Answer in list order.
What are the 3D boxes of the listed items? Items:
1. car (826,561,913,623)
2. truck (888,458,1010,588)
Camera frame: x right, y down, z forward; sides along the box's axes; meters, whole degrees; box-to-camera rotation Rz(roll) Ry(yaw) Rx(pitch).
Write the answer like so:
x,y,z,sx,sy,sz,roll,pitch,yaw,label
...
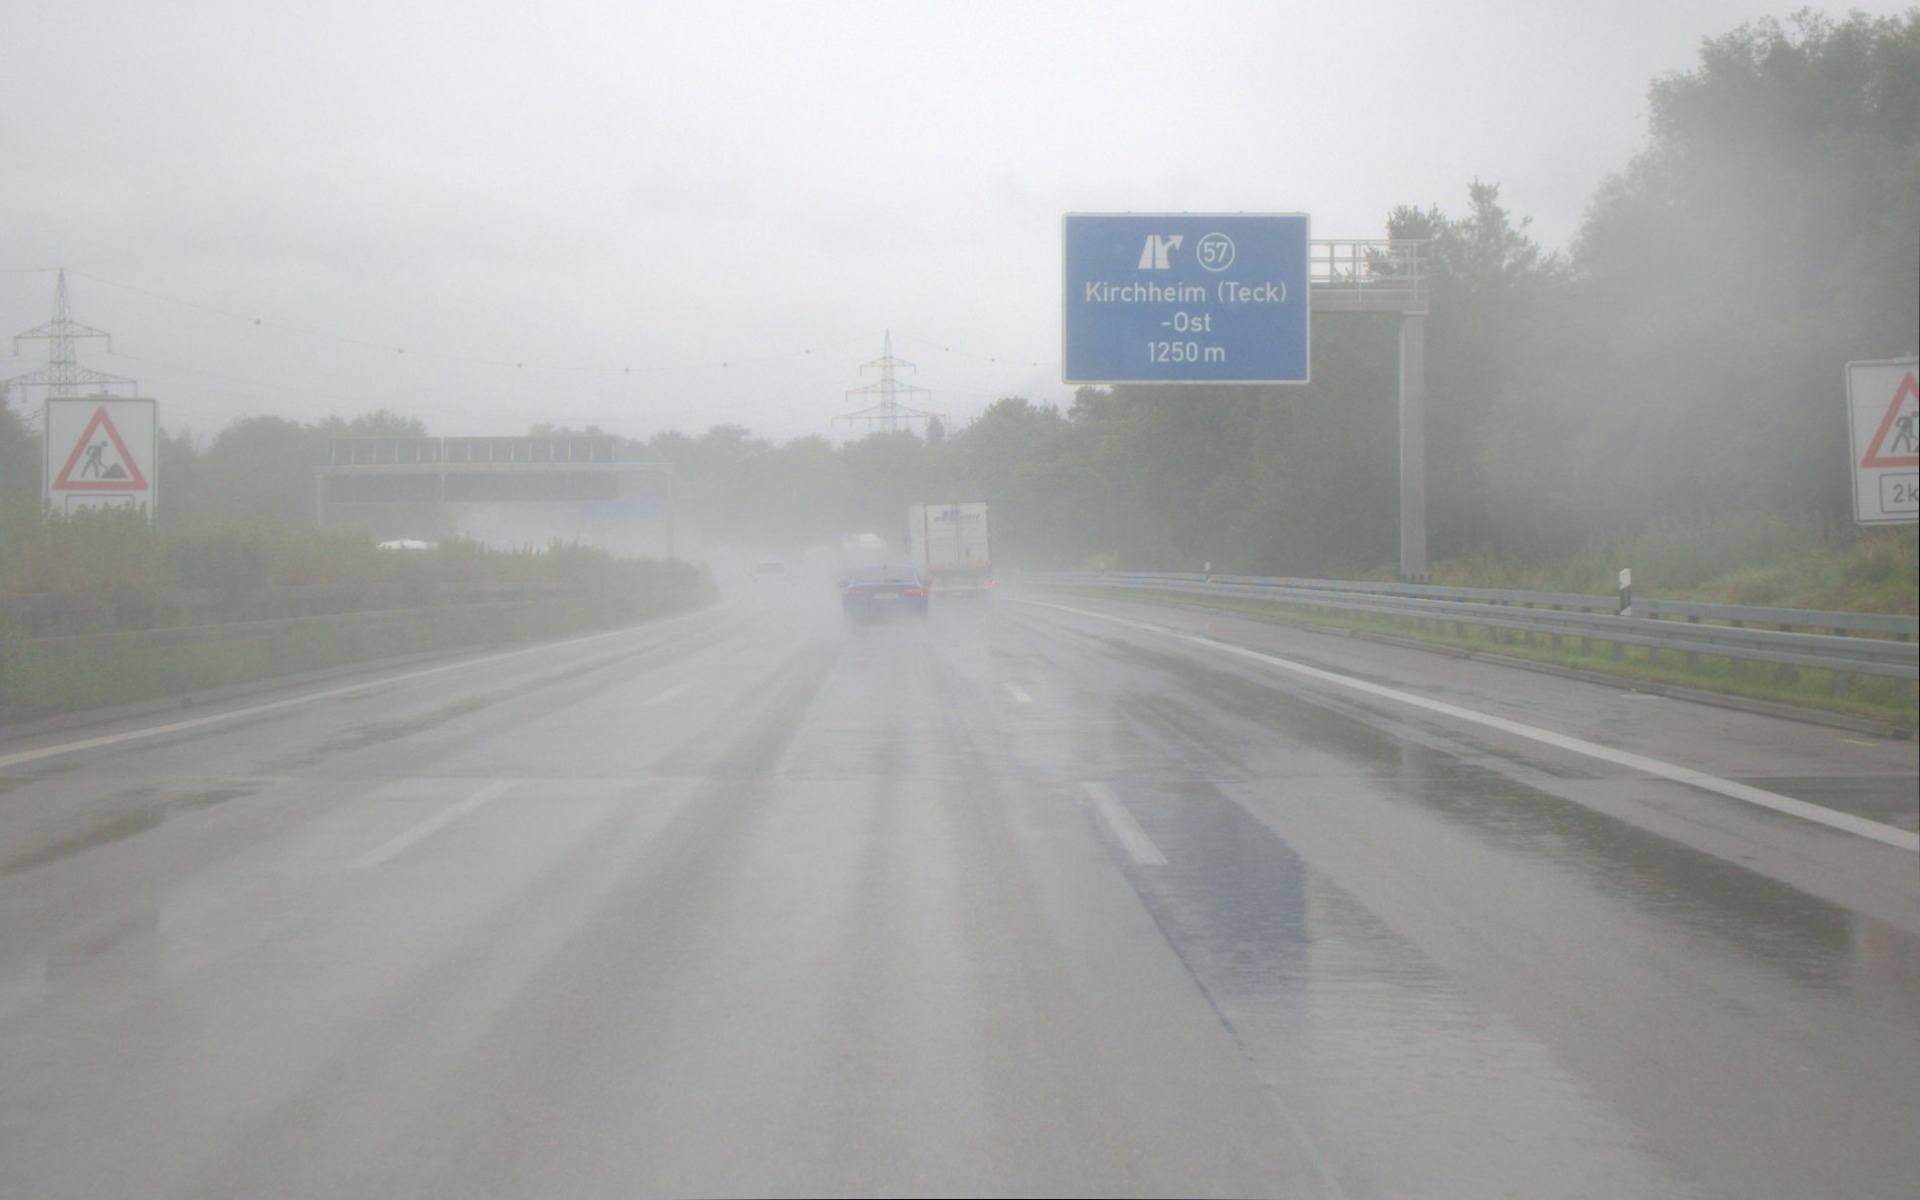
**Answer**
x,y,z,sx,sy,sz,roll,pitch,yaw,label
-1.891,-0.182,71.616,1.748,1.208,4.000,1,1,-2,car
-0.625,-3.254,144.832,4.256,4.955,17.343,-3,1,-2,truck
